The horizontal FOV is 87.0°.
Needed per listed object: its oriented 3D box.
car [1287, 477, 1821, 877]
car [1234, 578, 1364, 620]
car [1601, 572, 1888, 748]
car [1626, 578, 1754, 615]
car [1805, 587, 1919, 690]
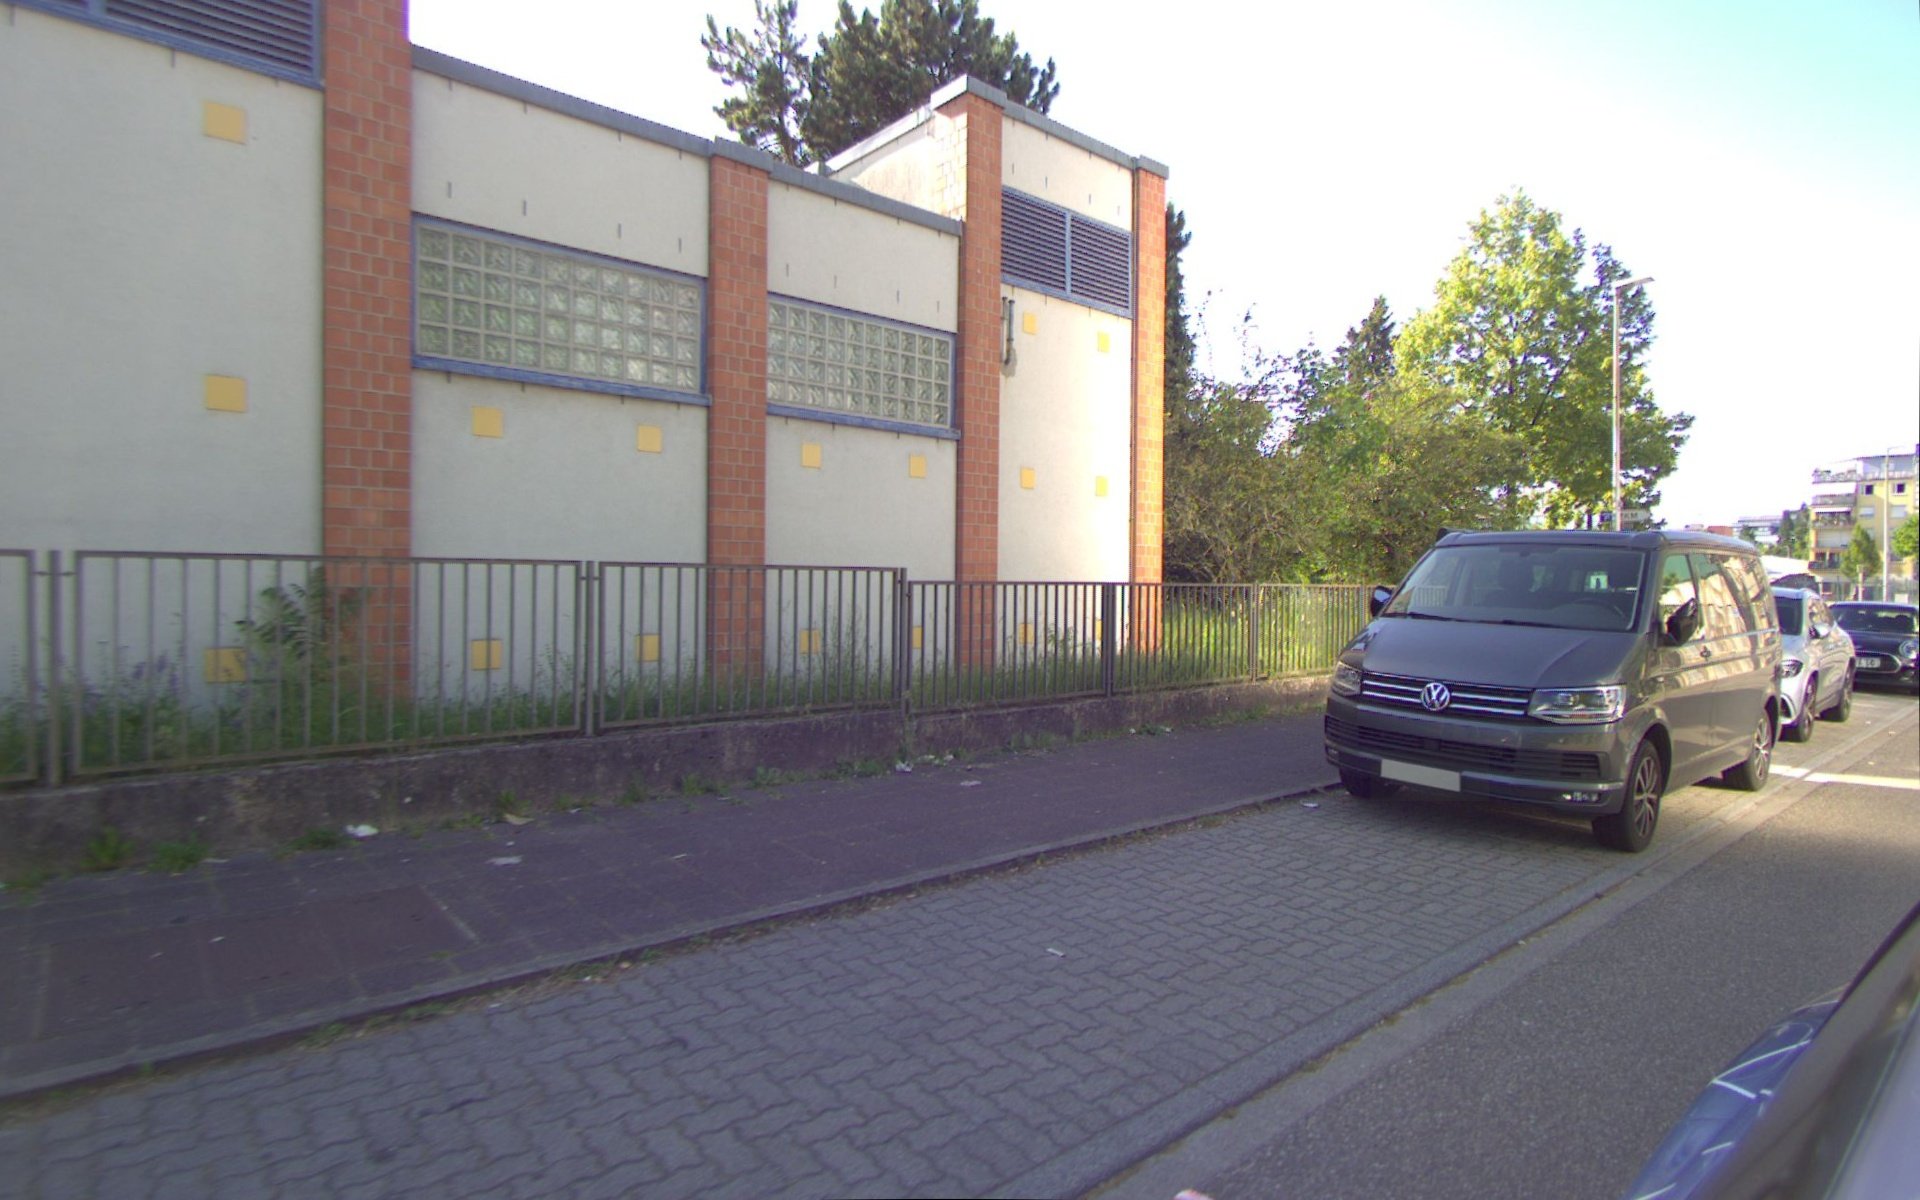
[{"bbox_3d":[4.588,0.321,7.461,4.741,2.047,1.947,-1,3,-41],"label":"car"},{"bbox_3d":[12.719,-0.081,38.229,1.721,1.439,4.420,-1,3,-39],"label":"car"},{"bbox_3d":[9.298,0.532,11.874,4.219,1.649,1.829,-1,3,-41],"label":"car"},{"bbox_3d":[33.497,-0.196,46.542,1.963,1.630,4.424,-1,1,-37],"label":"car"},{"bbox_3d":[15.737,0.578,17.112,3.699,1.490,1.655,-1,3,-42],"label":"car"}]
